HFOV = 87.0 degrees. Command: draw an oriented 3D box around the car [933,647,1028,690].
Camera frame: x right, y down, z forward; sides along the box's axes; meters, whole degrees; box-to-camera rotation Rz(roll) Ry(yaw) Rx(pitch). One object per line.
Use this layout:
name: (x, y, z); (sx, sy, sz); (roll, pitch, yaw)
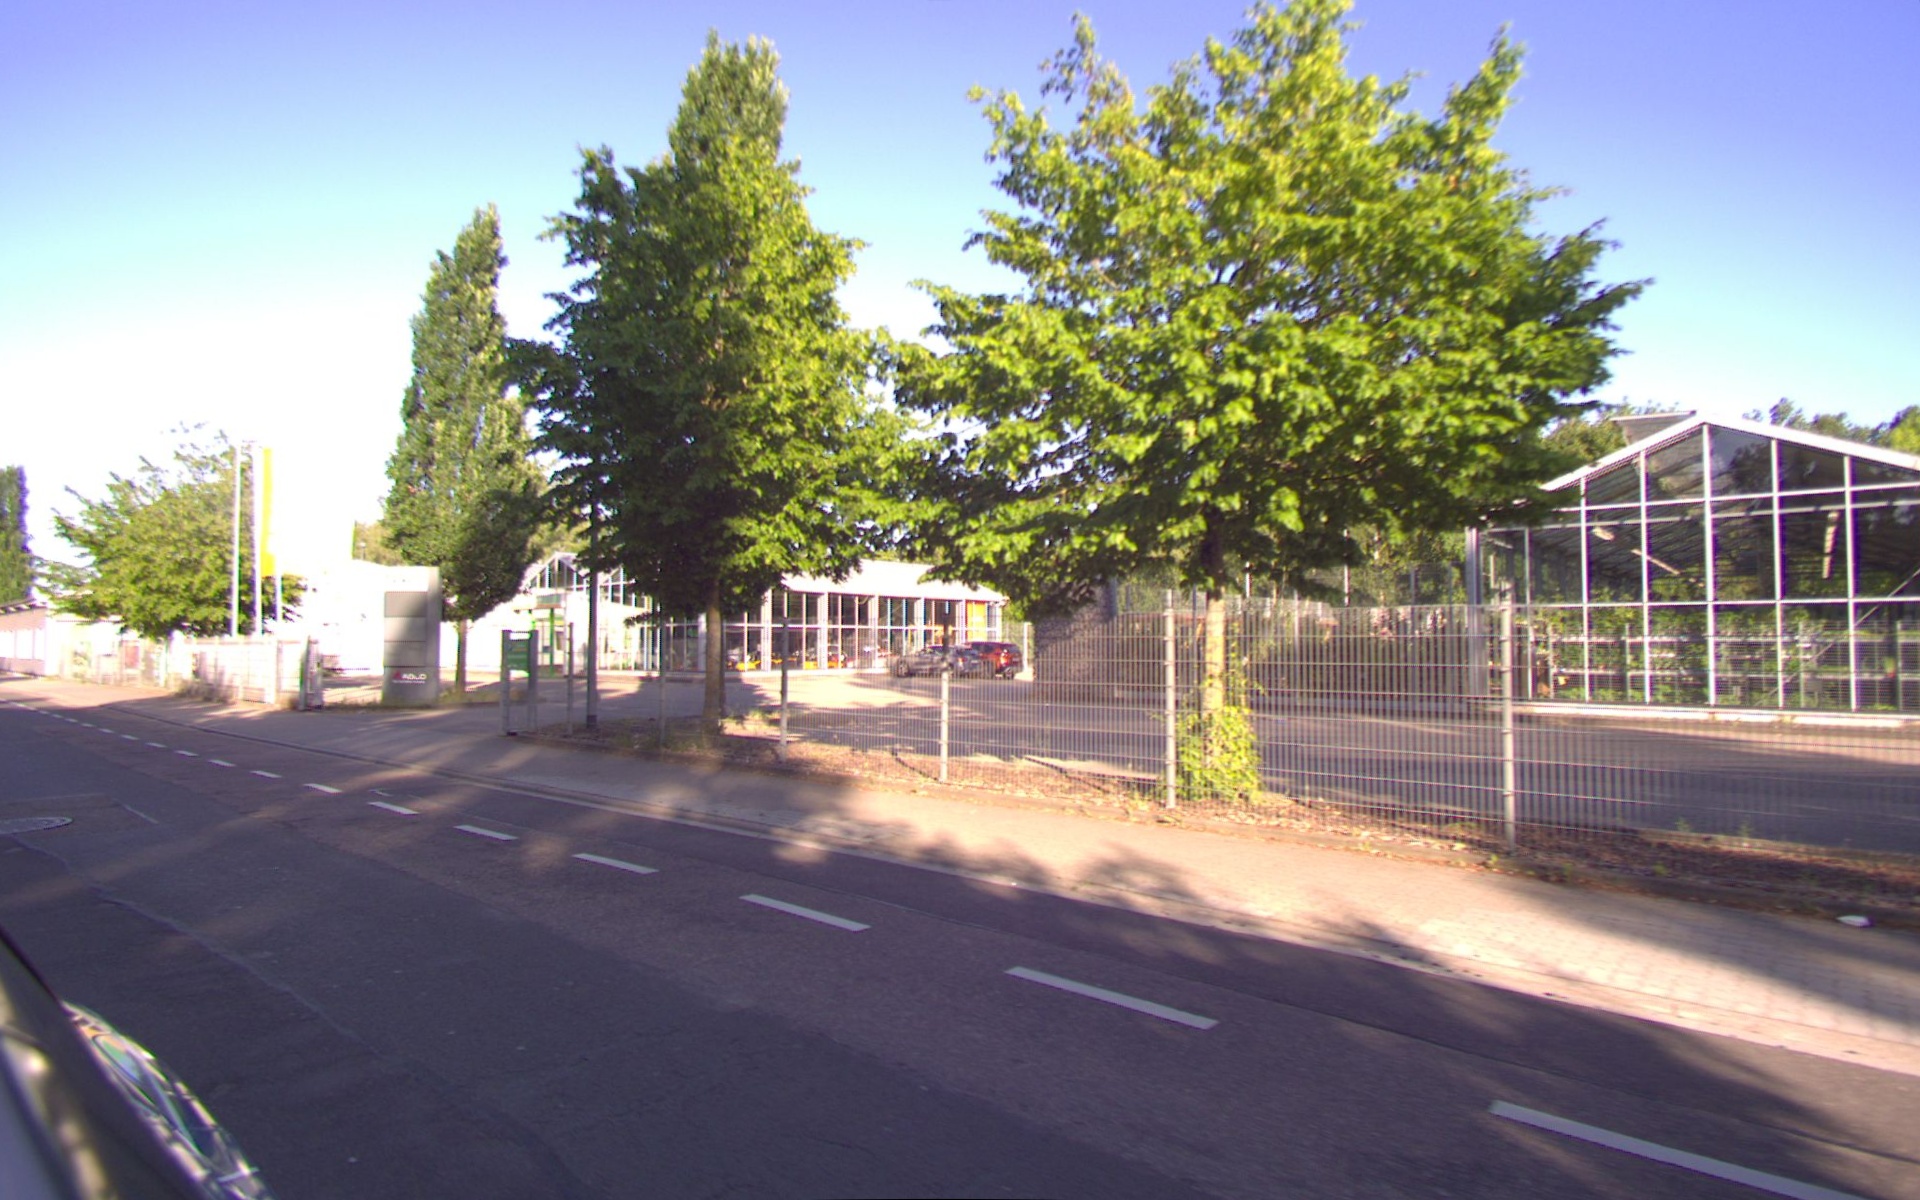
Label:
car: (0.889, 3.061, 45.651); (3.997, 1.752, 1.861); (-1, -2, 40)

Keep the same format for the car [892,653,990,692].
car: (-0.851, 3.109, 43.947); (3.997, 1.521, 1.861); (-1, -2, 40)
